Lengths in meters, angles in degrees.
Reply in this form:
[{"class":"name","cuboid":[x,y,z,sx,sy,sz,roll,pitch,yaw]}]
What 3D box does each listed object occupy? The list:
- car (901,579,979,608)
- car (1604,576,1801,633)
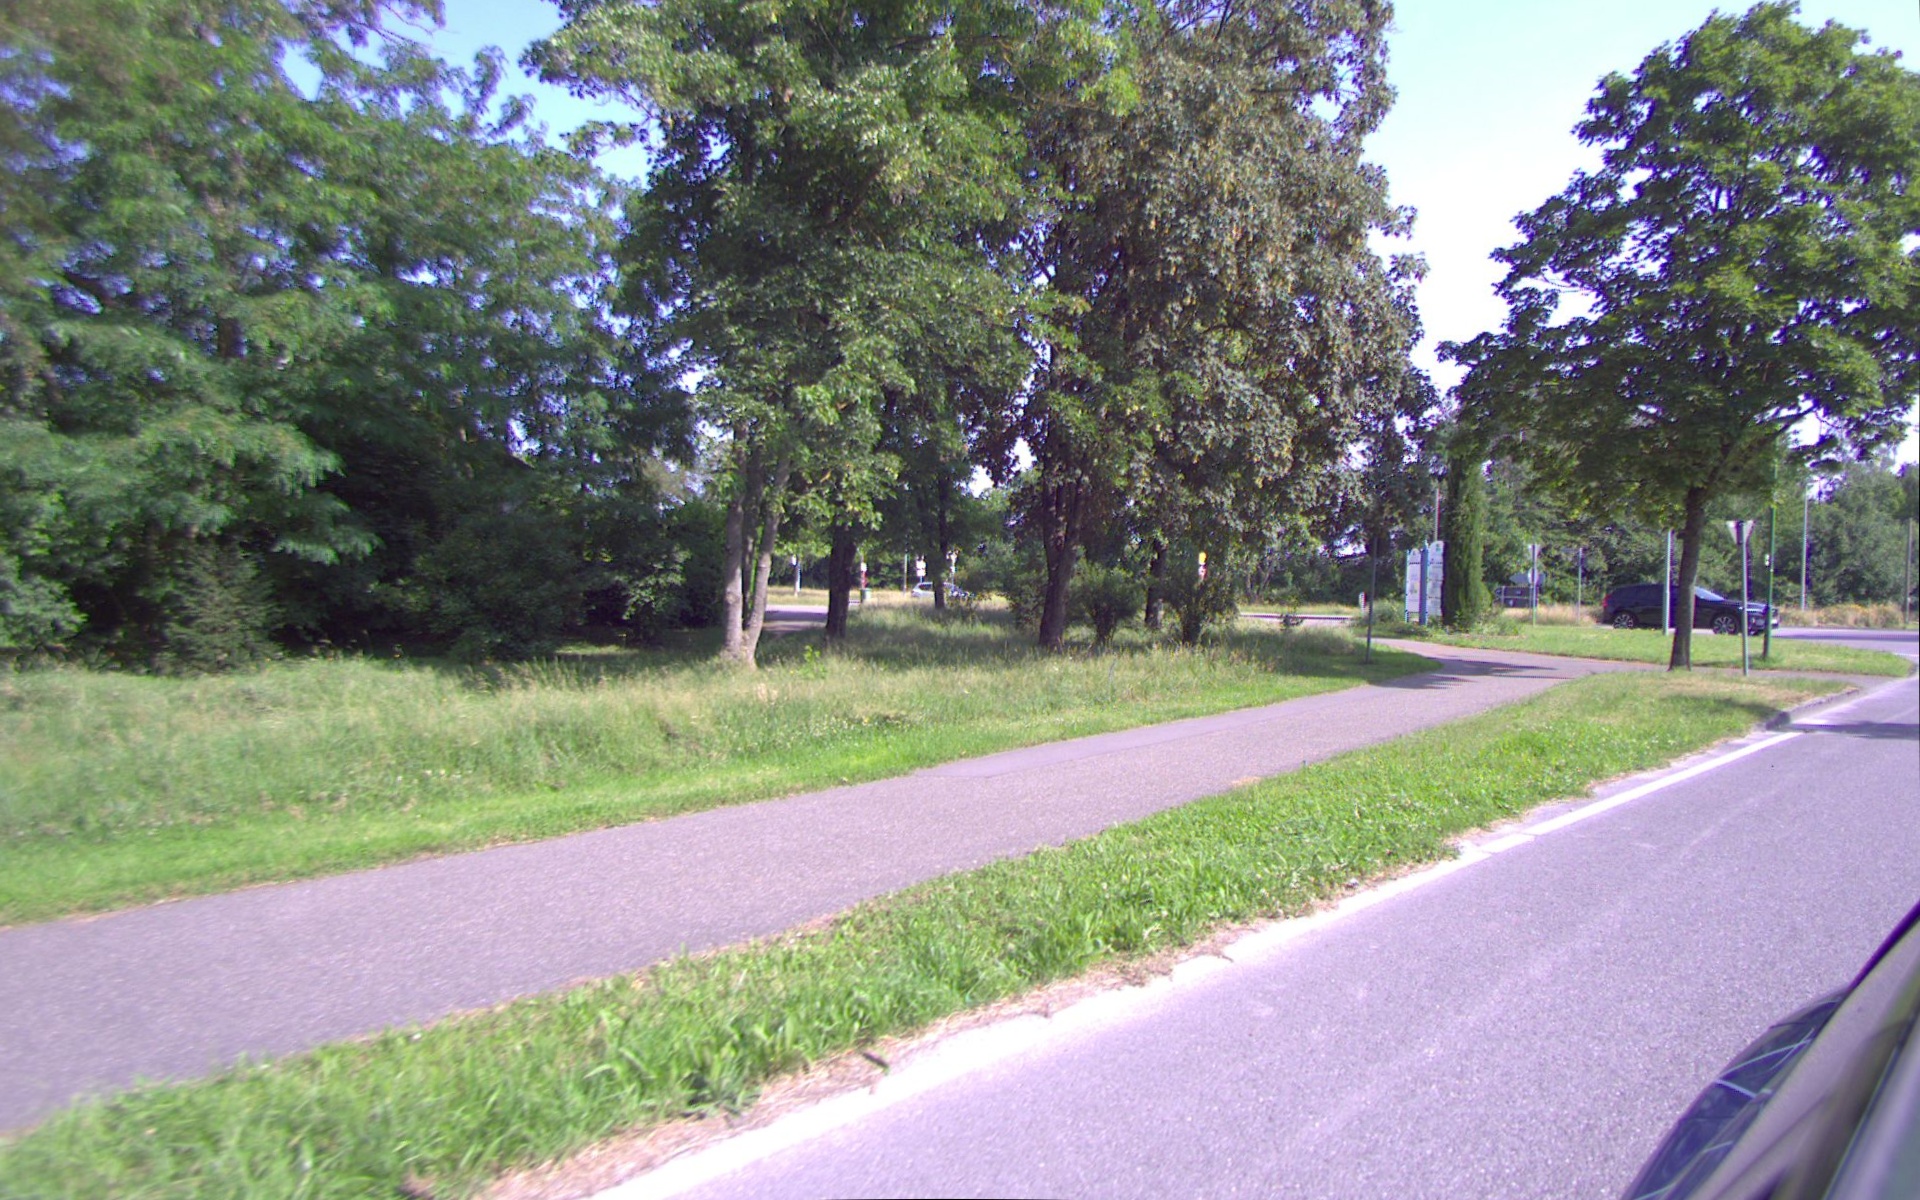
[{"class":"car","cuboid":[-1.143,-0.367,56.223,4.115,1.569,1.877,1,1,39]},{"class":"car","cuboid":[23.281,0.074,31.927,1.915,1.621,4.624,0,1,-32]}]
